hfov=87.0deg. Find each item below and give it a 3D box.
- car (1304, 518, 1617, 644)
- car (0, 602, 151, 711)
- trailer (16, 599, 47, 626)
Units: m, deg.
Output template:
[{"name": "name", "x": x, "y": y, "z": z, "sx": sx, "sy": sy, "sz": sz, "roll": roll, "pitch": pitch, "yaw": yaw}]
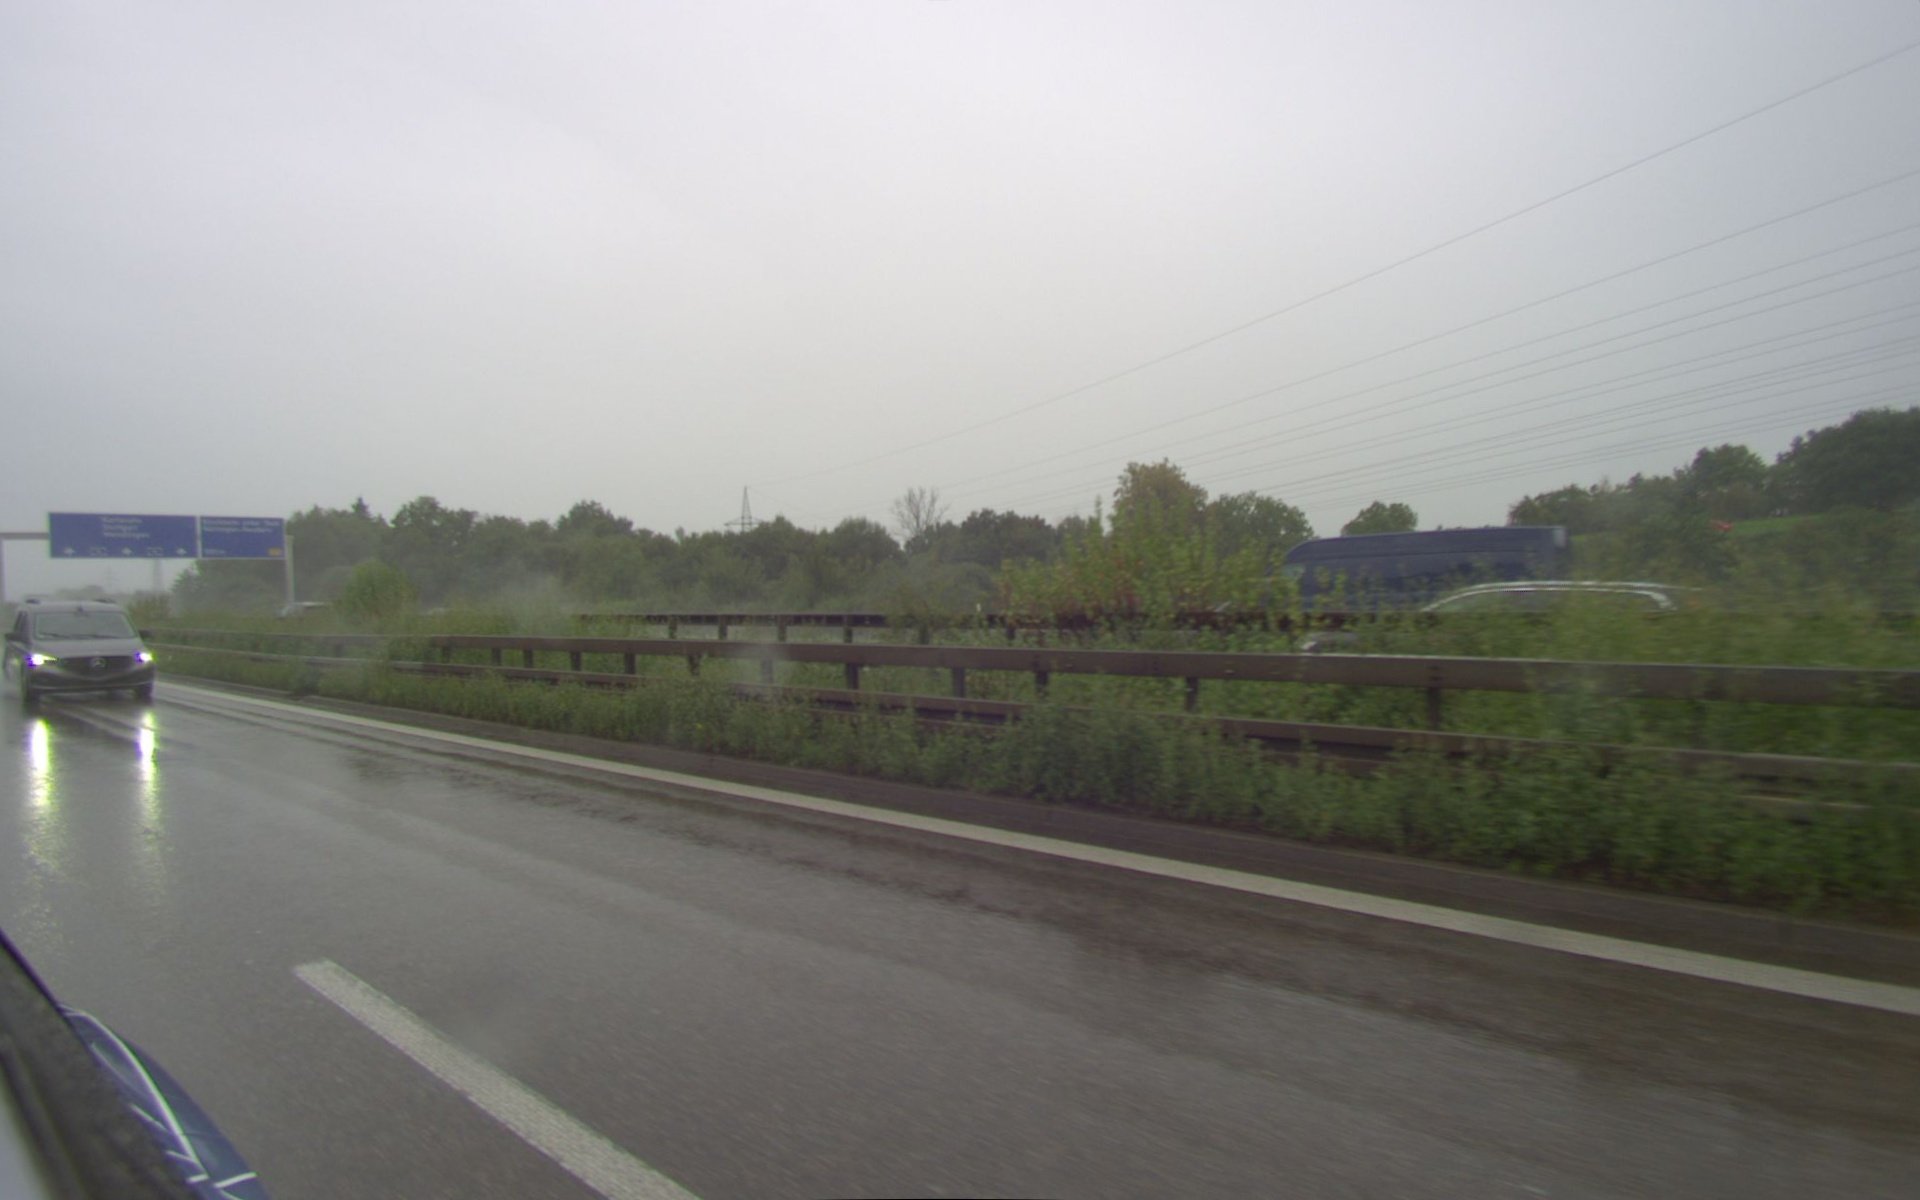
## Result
[{"name": "car", "x": 9.101, "y": -0.309, "z": 18.702, "sx": 4.834, "sy": 2.028, "sz": 1.801, "roll": -2, "pitch": 2, "yaw": 42}, {"name": "car", "x": -16.508, "y": 0.975, "z": 18.830, "sx": 2.017, "sy": 1.787, "sz": 4.506, "roll": 0, "pitch": -1, "yaw": -42}, {"name": "trailer", "x": -139.775, "y": 1.986, "z": 152.323, "sx": 13.931, "sy": 3.749, "sz": 2.307, "roll": -2, "pitch": 2, "yaw": 44}]
